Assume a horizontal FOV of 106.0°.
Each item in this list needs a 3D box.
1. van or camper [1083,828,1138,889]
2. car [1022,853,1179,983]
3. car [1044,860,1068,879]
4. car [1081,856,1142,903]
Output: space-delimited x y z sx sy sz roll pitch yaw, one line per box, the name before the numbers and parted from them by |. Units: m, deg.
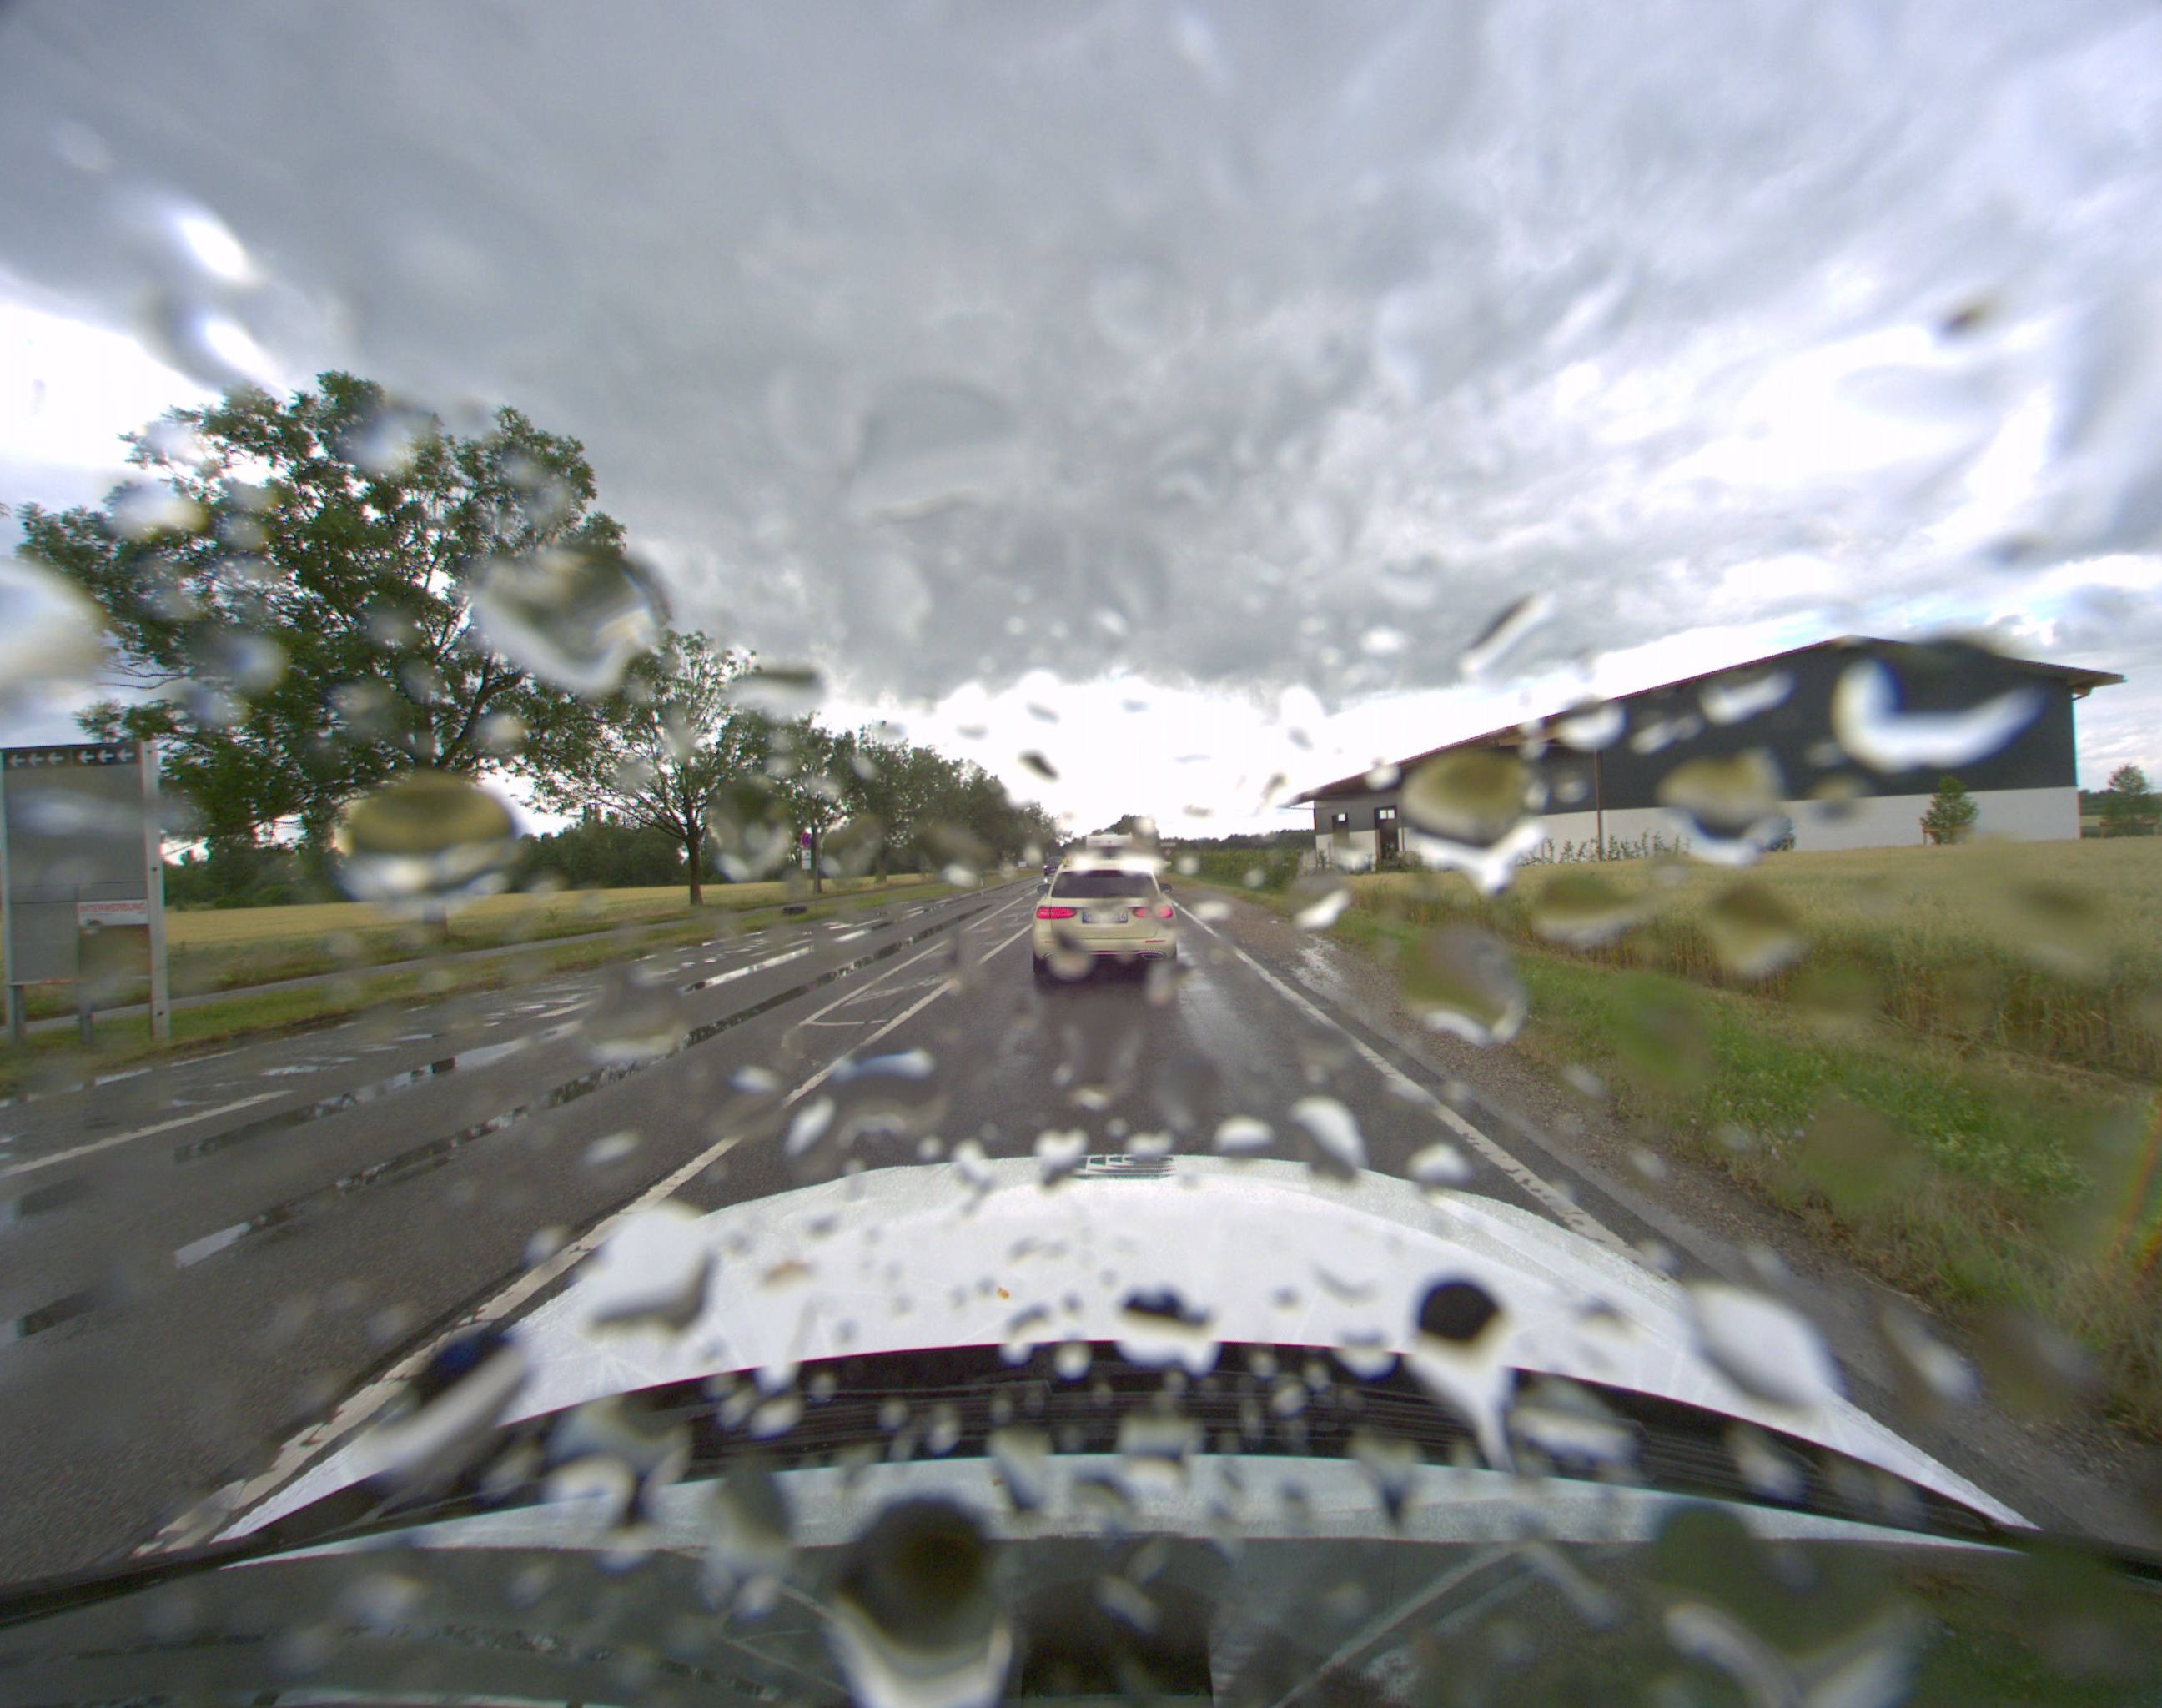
van or camper | 1.585 0.232 42.412 2.487 2.831 5.938 -3 0 3
car | 0.314 0.747 11.463 1.790 1.464 4.033 -1 0 2
car | -2.271 1.399 75.548 1.909 1.632 4.359 -1 0 2
car | 1.024 0.820 27.648 1.887 1.429 3.929 -1 0 1
